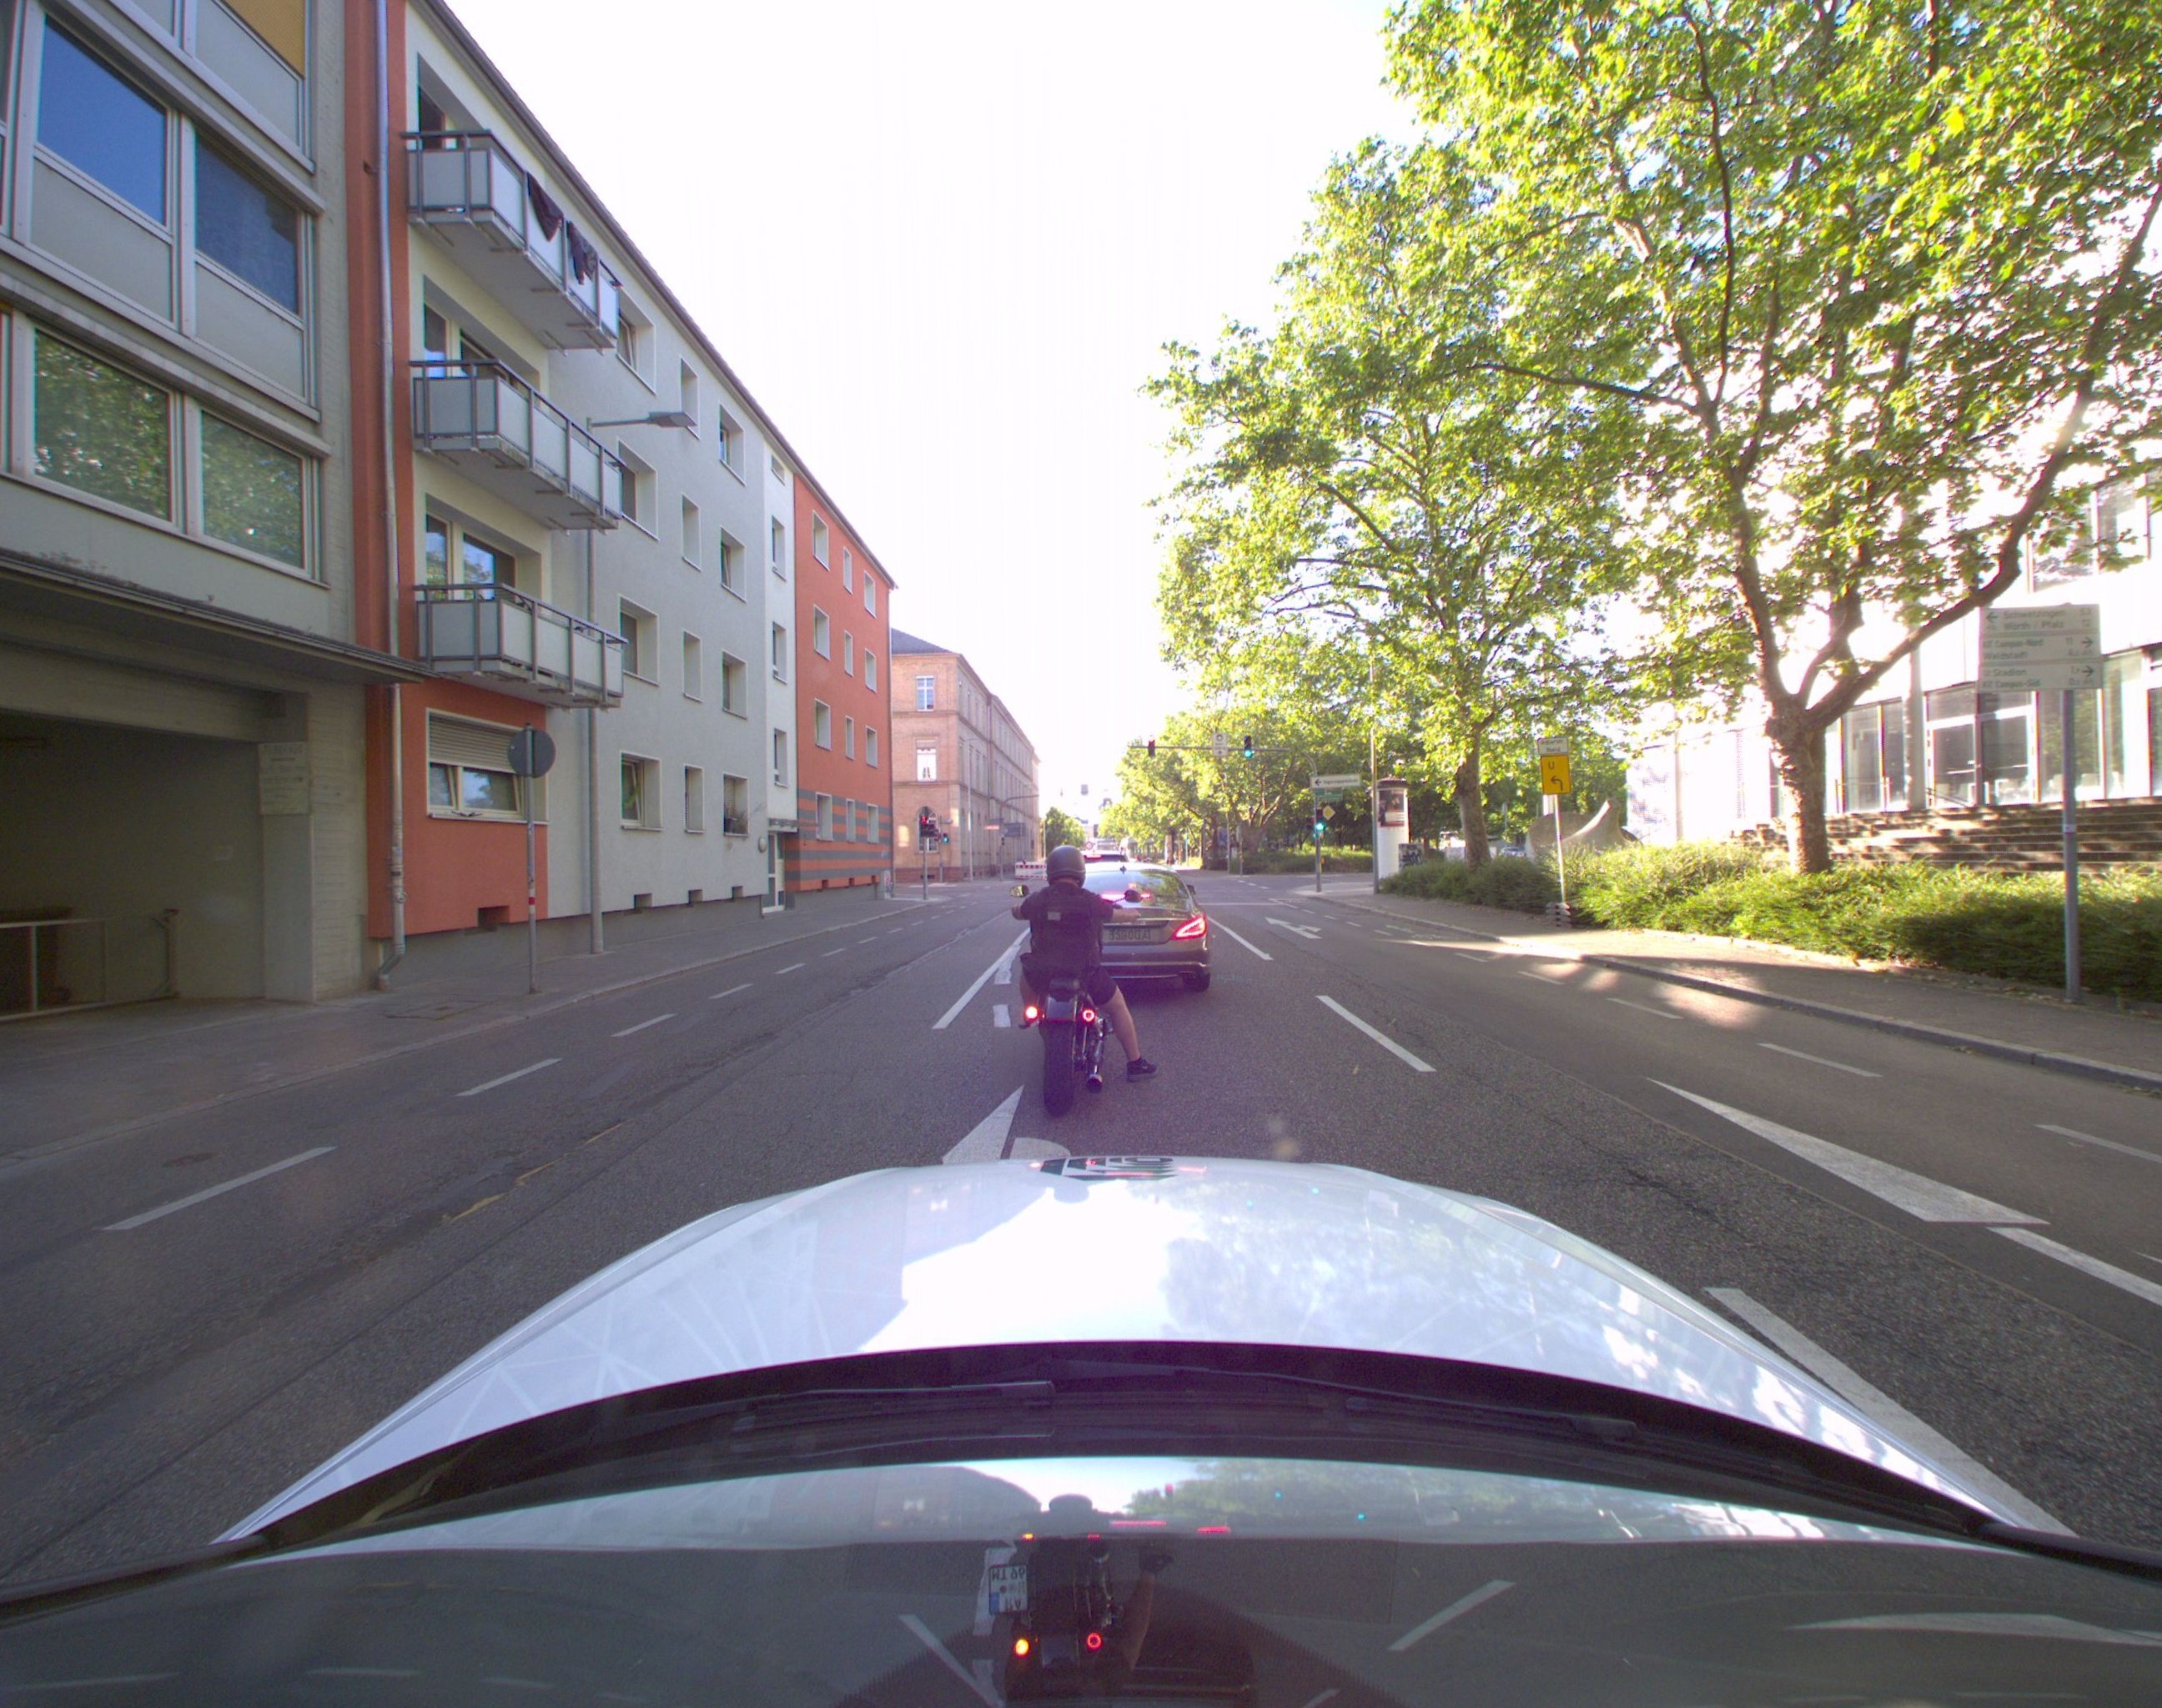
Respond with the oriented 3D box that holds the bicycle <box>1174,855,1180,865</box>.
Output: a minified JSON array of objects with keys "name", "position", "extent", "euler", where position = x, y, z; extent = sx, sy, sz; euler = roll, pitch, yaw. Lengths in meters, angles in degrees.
[{"name":"bicycle","position":[11.519,0.673,97.797],"extent":[0.712,1.172,2.179],"euler":[0,-1,6]}]

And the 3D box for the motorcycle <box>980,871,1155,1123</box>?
[{"name":"motorcycle","position":[-0.039,0.815,5.659],"extent":[0.958,1.357,2.321],"euler":[0,-1,2]}]

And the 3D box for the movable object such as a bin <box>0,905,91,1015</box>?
[{"name":"movable object such as a bin","position":[-11.323,1.101,8.646],"extent":[0.736,1.074,0.716],"euler":[0,-1,2]}]

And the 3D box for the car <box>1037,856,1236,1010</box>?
[{"name":"car","position":[0.436,0.773,10.088],"extent":[1.898,1.441,4.283],"euler":[-1,0,-4]}]

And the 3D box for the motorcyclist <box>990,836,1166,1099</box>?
[{"name":"motorcyclist","position":[-0.004,0.690,5.389],"extent":[1.057,1.582,0.908],"euler":[0,-1,1]}]

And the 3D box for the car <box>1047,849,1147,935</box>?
[{"name":"car","position":[0.270,0.697,16.894],"extent":[1.808,1.536,3.847],"euler":[-1,0,-1]}]
